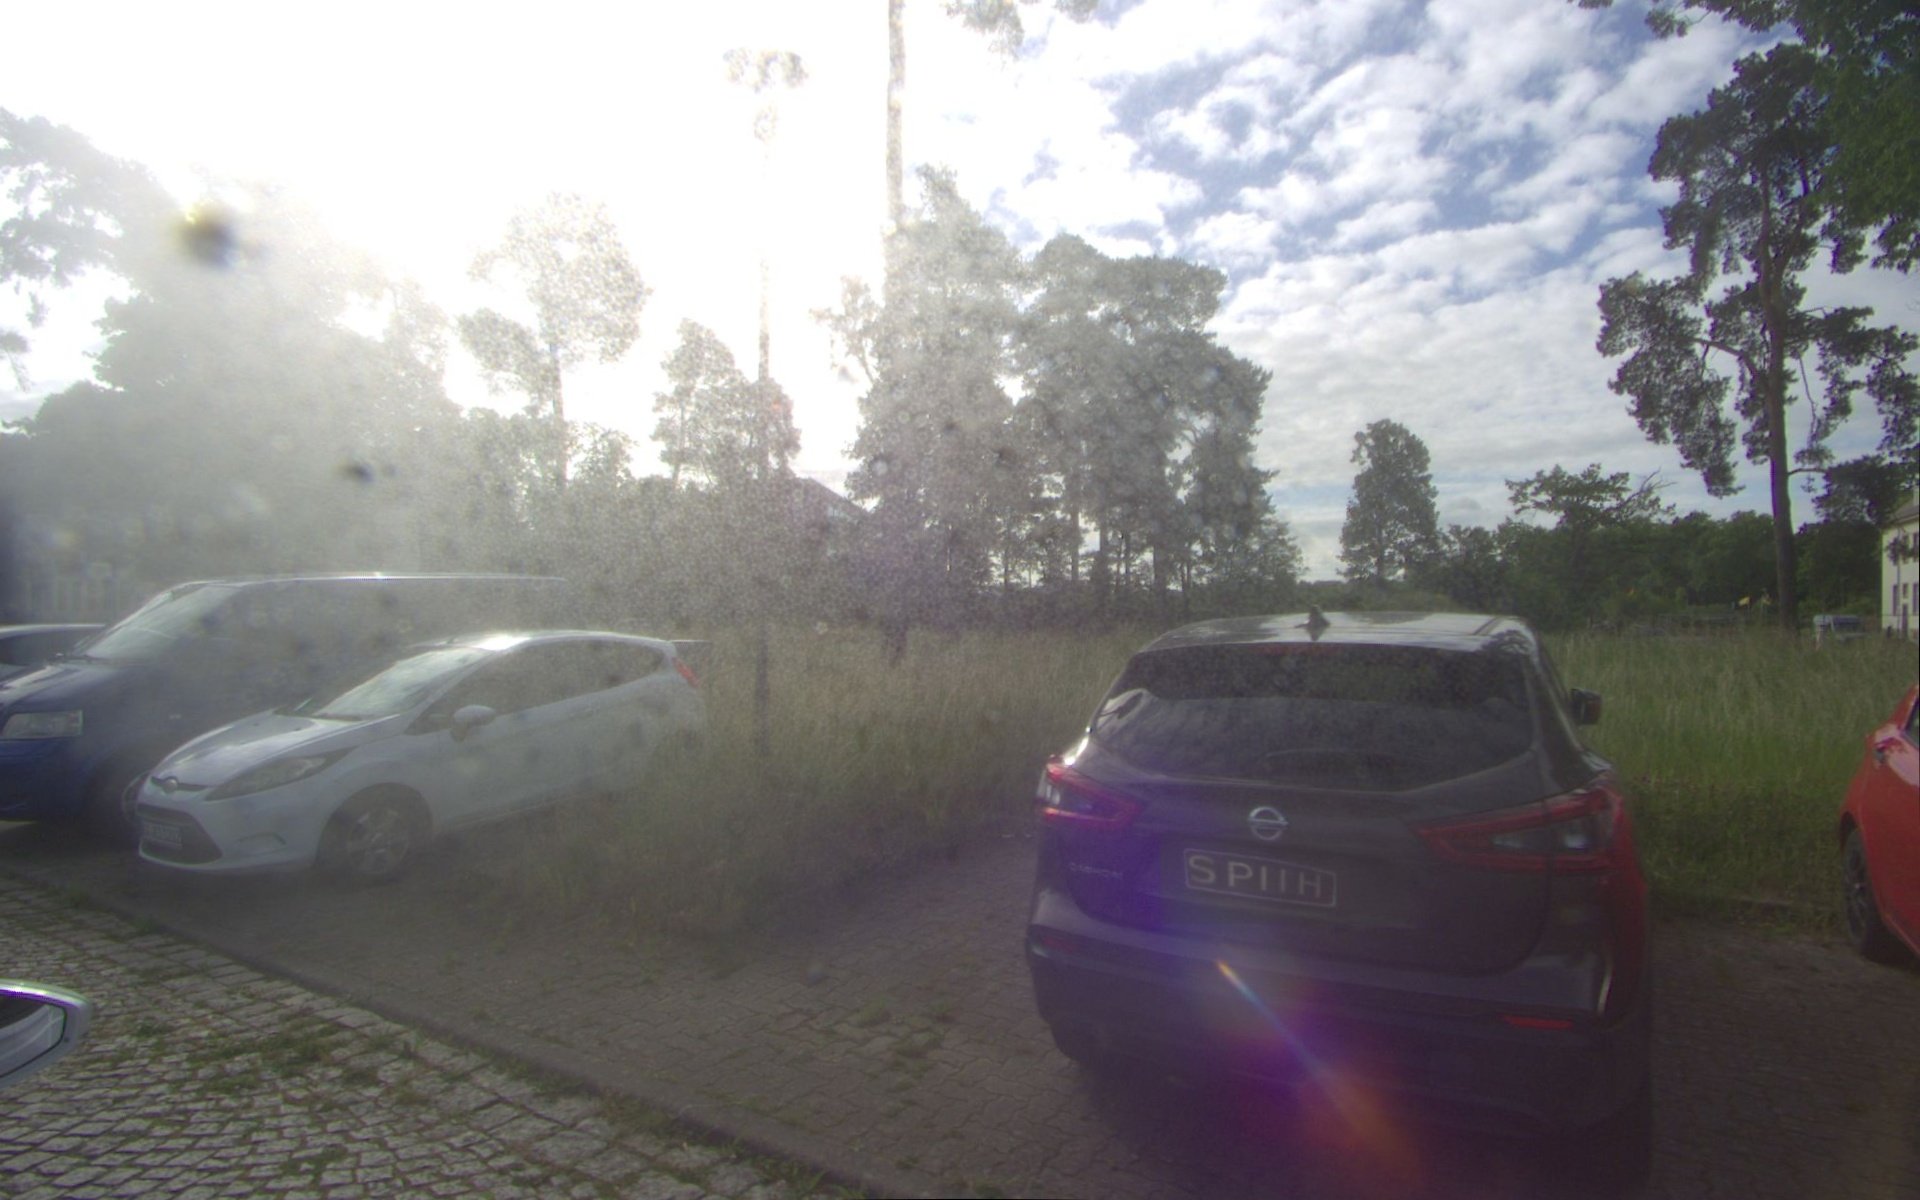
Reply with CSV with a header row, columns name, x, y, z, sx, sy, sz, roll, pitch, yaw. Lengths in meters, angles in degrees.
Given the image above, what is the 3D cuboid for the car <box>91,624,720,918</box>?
name,x,y,z,sx,sy,sz,roll,pitch,yaw
car,-3.648,0.949,7.294,1.629,1.443,3.718,0,0,29

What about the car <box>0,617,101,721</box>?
name,x,y,z,sx,sy,sz,roll,pitch,yaw
car,-14.988,1.012,14.661,1.635,1.524,3.296,0,-1,21

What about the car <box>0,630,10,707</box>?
name,x,y,z,sx,sy,sz,roll,pitch,yaw
car,-17.456,1.115,15.752,1.637,1.284,3.292,0,-1,26

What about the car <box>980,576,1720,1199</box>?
name,x,y,z,sx,sy,sz,roll,pitch,yaw
car,1.788,0.795,4.218,1.735,1.601,3.946,0,-1,30

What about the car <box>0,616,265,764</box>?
name,x,y,z,sx,sy,sz,roll,pitch,yaw
car,-10.213,0.948,11.511,1.639,1.524,3.289,0,-1,29

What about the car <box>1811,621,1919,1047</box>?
name,x,y,z,sx,sy,sz,roll,pitch,yaw
car,4.132,0.842,3.051,1.713,1.538,3.981,0,-1,31

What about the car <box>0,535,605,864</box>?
name,x,y,z,sx,sy,sz,roll,pitch,yaw
car,-5.611,0.674,8.781,1.712,2.066,4.778,0,-1,29

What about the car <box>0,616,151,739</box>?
name,x,y,z,sx,sy,sz,roll,pitch,yaw
car,-12.826,0.975,12.756,1.635,1.526,3.602,0,-1,21

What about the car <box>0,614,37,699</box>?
name,x,y,z,sx,sy,sz,roll,pitch,yaw
car,-19.011,1.010,17.456,1.637,1.563,3.987,0,-1,26
